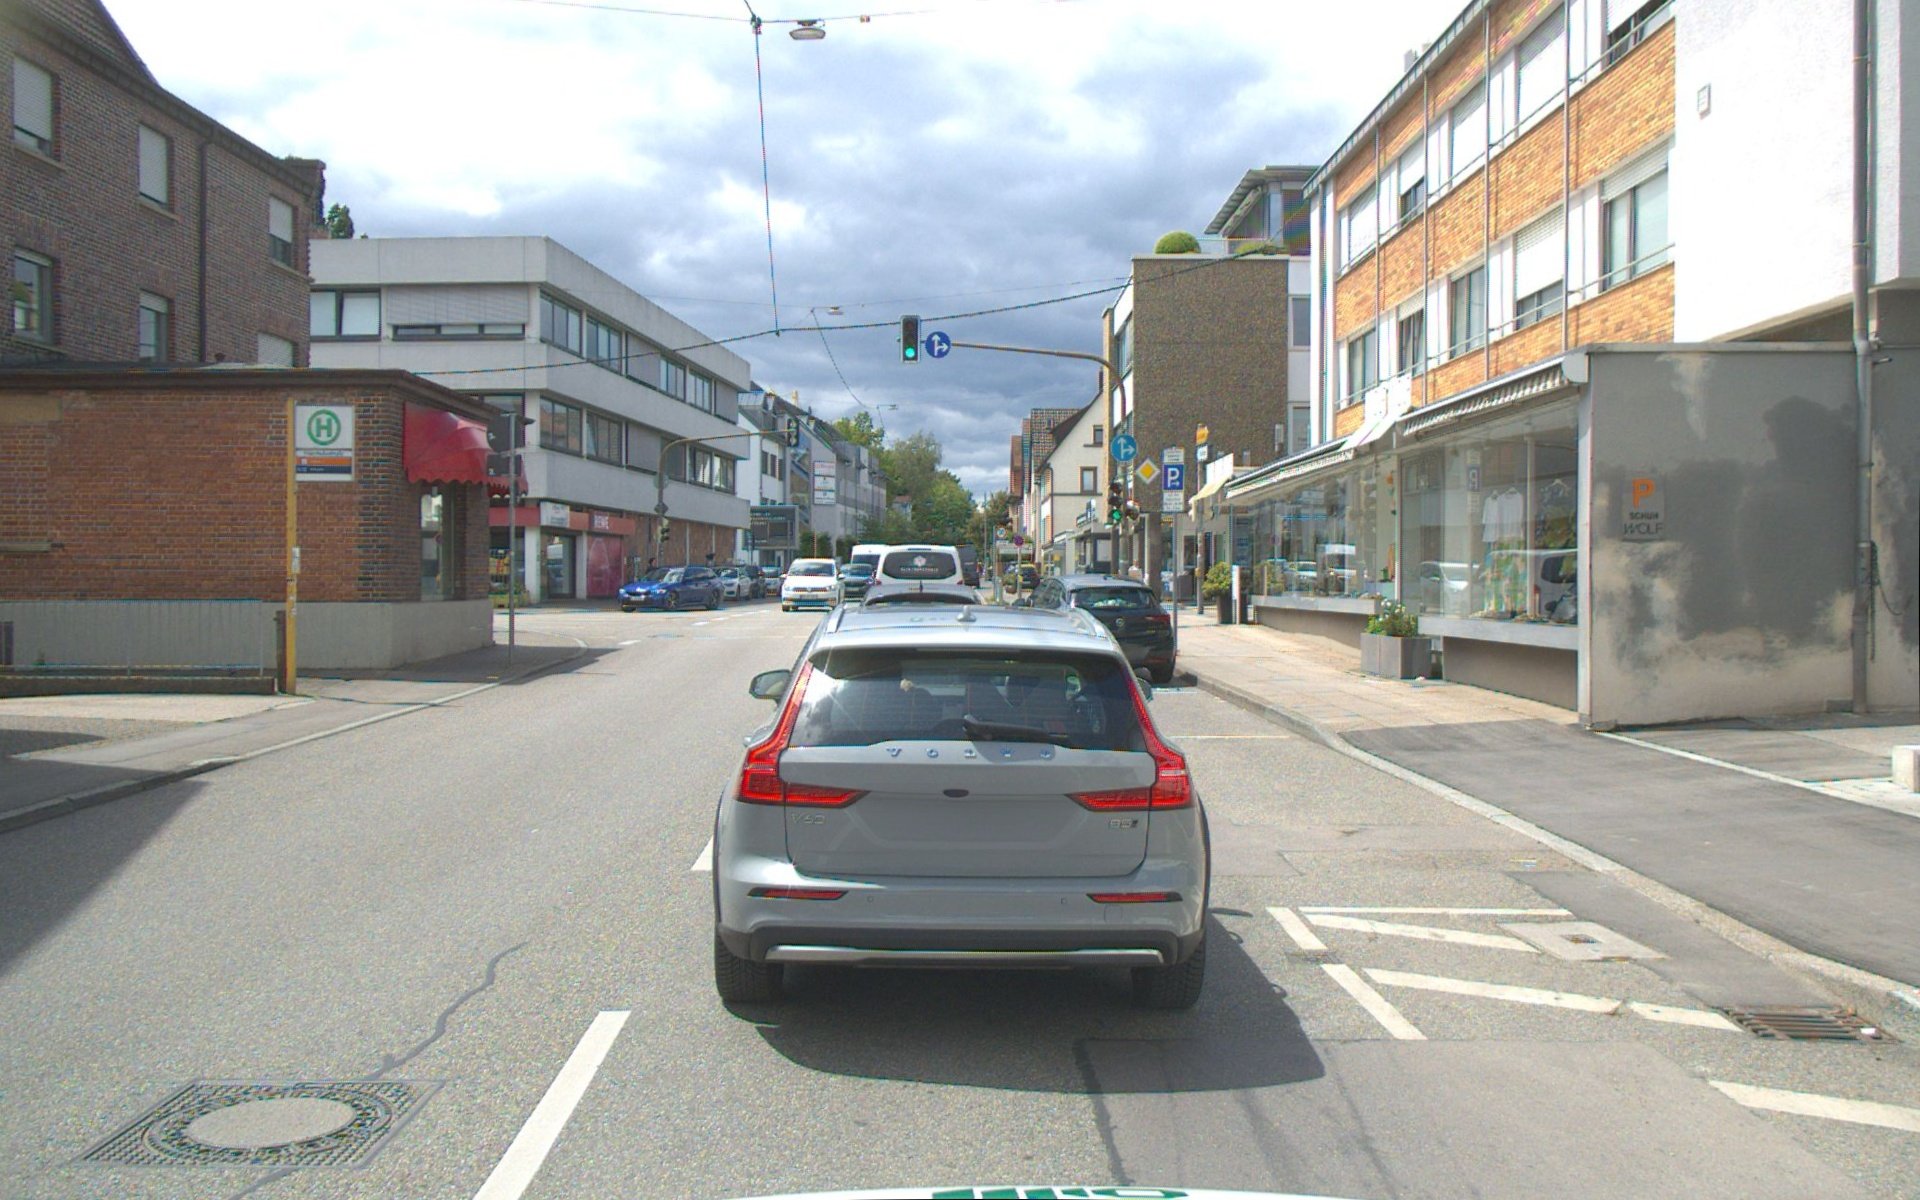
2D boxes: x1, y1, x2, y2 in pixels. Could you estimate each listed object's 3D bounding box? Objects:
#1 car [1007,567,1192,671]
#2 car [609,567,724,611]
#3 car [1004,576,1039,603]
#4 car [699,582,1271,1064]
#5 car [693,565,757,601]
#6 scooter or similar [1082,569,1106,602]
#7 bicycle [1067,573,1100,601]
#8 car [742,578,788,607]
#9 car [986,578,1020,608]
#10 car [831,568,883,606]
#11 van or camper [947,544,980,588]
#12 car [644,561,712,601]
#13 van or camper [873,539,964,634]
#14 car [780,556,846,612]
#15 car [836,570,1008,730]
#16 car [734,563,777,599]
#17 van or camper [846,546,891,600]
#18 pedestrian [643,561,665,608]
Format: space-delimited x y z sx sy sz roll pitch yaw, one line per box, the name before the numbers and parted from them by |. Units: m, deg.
car | 1.922 0.250 23.894 1.775 1.370 3.708 0 0 -10
car | -9.525 -0.386 54.108 1.951 1.361 4.360 0 1 16
car | 3.521 -0.607 95.096 1.676 1.490 3.998 1 0 -2
car | 0.054 0.697 7.204 1.798 1.512 3.999 0 0 -1
car | -10.111 -0.757 71.420 1.864 1.468 4.446 1 1 4
scooter or similar | 5.415 -0.573 66.730 0.336 1.275 1.235 -3 0 -26
bicycle | 5.228 -0.554 70.091 0.546 1.164 2.288 -1 1 -18
car | -9.826 -0.361 83.512 1.719 1.451 3.863 0 0 2
car | 1.920 -0.308 74.662 1.409 1.310 3.247 0 0 -1
car | -4.247 -0.517 68.686 1.753 1.537 3.846 0 0 2
van or camper | 0.251 -2.217 106.729 2.080 2.733 4.782 -1 1 0
car | -11.079 -0.743 65.227 1.747 1.490 4.089 1 1 3
van or camper | -0.846 -0.274 34.651 1.782 1.867 3.999 0 0 -1
car | -4.599 -0.552 52.341 1.739 1.640 4.120 -1 2 -1
car | -0.384 0.460 17.580 1.617 1.508 3.607 1 1 -1
car | -9.545 -0.900 77.321 1.574 1.570 2.945 2 1 0
van or camper | -4.581 -1.388 83.421 2.105 2.600 5.436 -1 2 -2
pedestrian | -10.848 -0.551 58.611 0.606 1.670 0.660 -1 1 1
